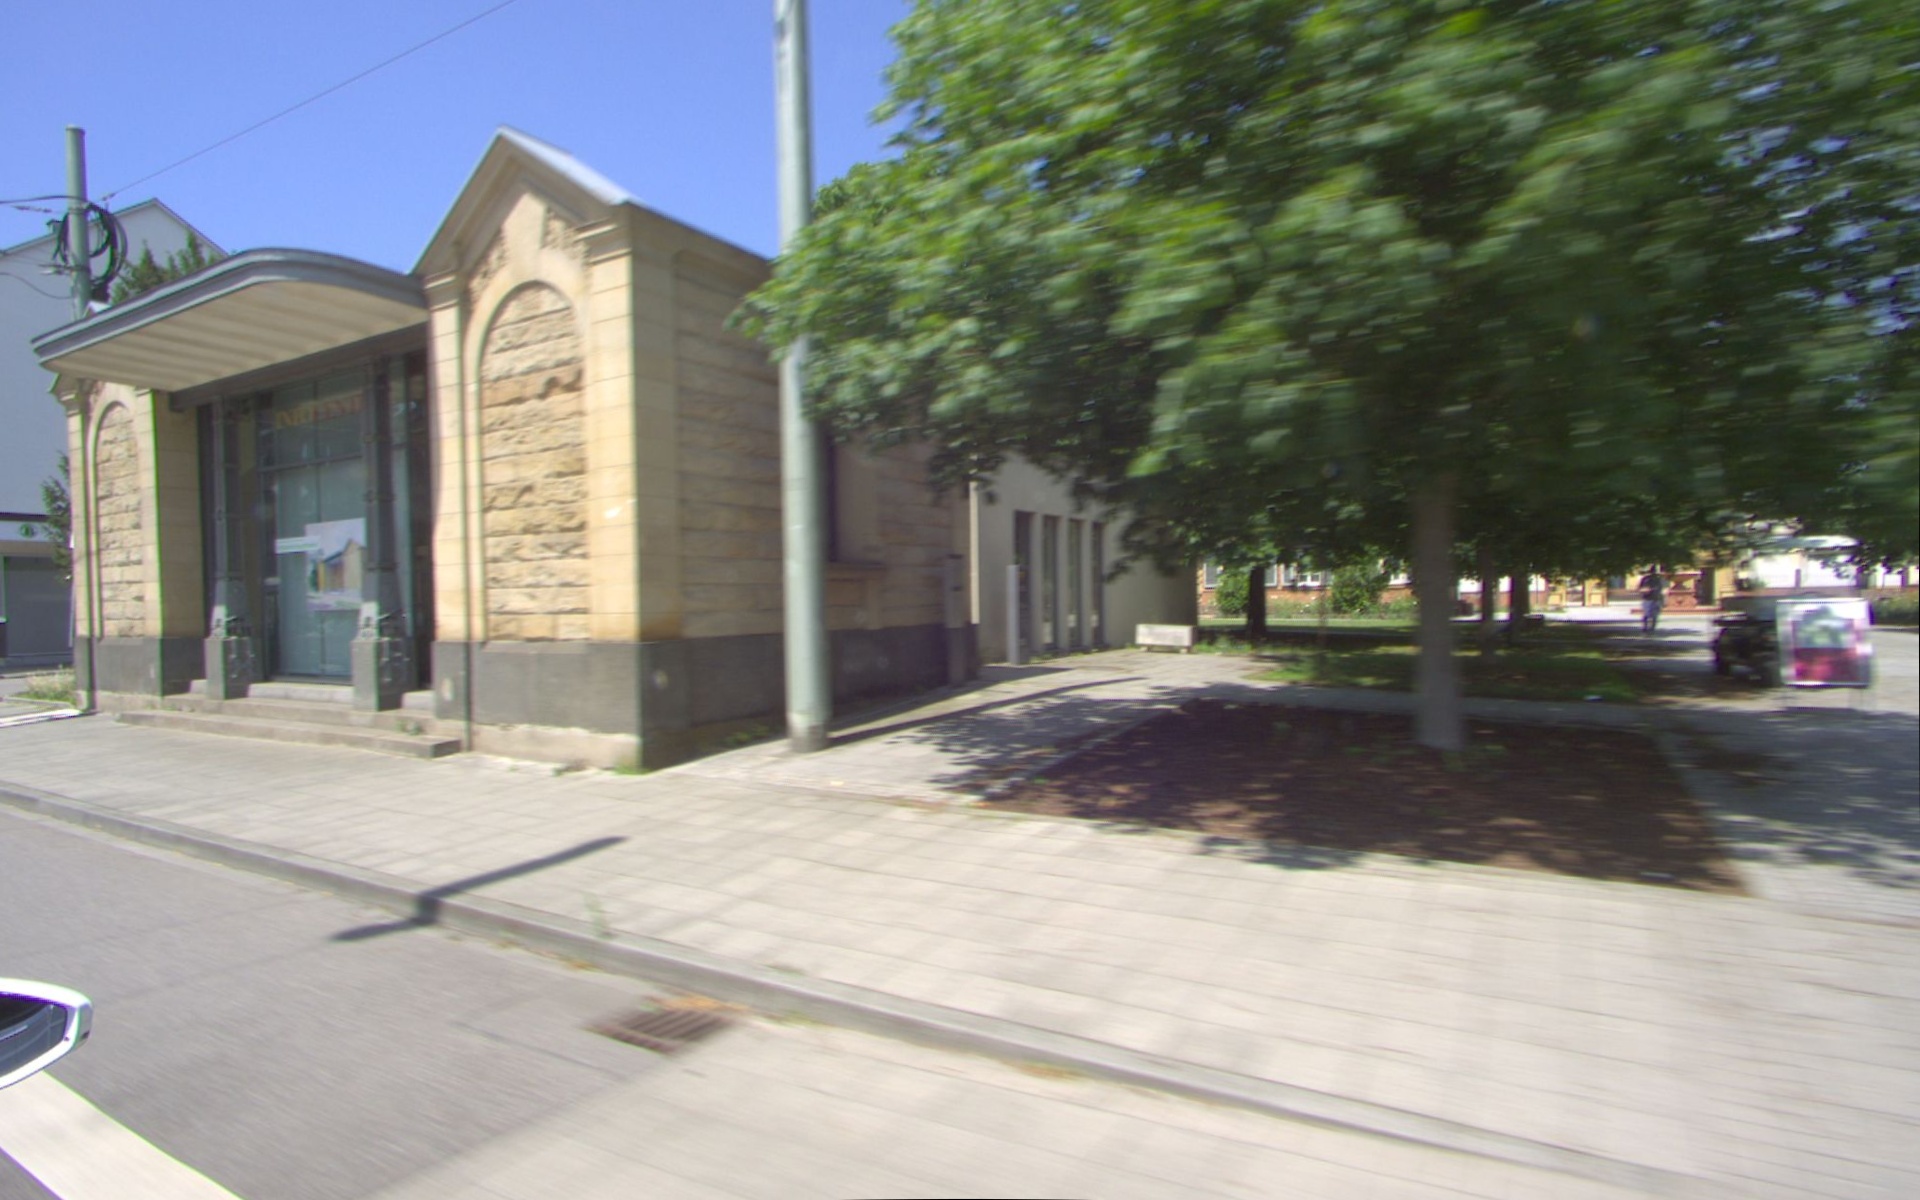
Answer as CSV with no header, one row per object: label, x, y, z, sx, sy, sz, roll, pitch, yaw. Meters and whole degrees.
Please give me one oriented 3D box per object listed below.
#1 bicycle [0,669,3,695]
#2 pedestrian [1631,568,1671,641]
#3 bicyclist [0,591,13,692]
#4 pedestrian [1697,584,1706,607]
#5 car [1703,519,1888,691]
bicycle,-16.180,1.024,16.051,1.836,1.017,0.666,0,5,31
pedestrian,17.468,0.109,25.330,0.757,1.817,0.771,0,1,30
bicyclist,-16.116,0.704,16.187,0.847,1.641,0.830,0,6,30
pedestrian,49.025,-0.330,66.175,0.410,1.508,0.501,0,2,30
car,11.215,0.058,13.640,1.444,2.040,3.324,-2,0,32
